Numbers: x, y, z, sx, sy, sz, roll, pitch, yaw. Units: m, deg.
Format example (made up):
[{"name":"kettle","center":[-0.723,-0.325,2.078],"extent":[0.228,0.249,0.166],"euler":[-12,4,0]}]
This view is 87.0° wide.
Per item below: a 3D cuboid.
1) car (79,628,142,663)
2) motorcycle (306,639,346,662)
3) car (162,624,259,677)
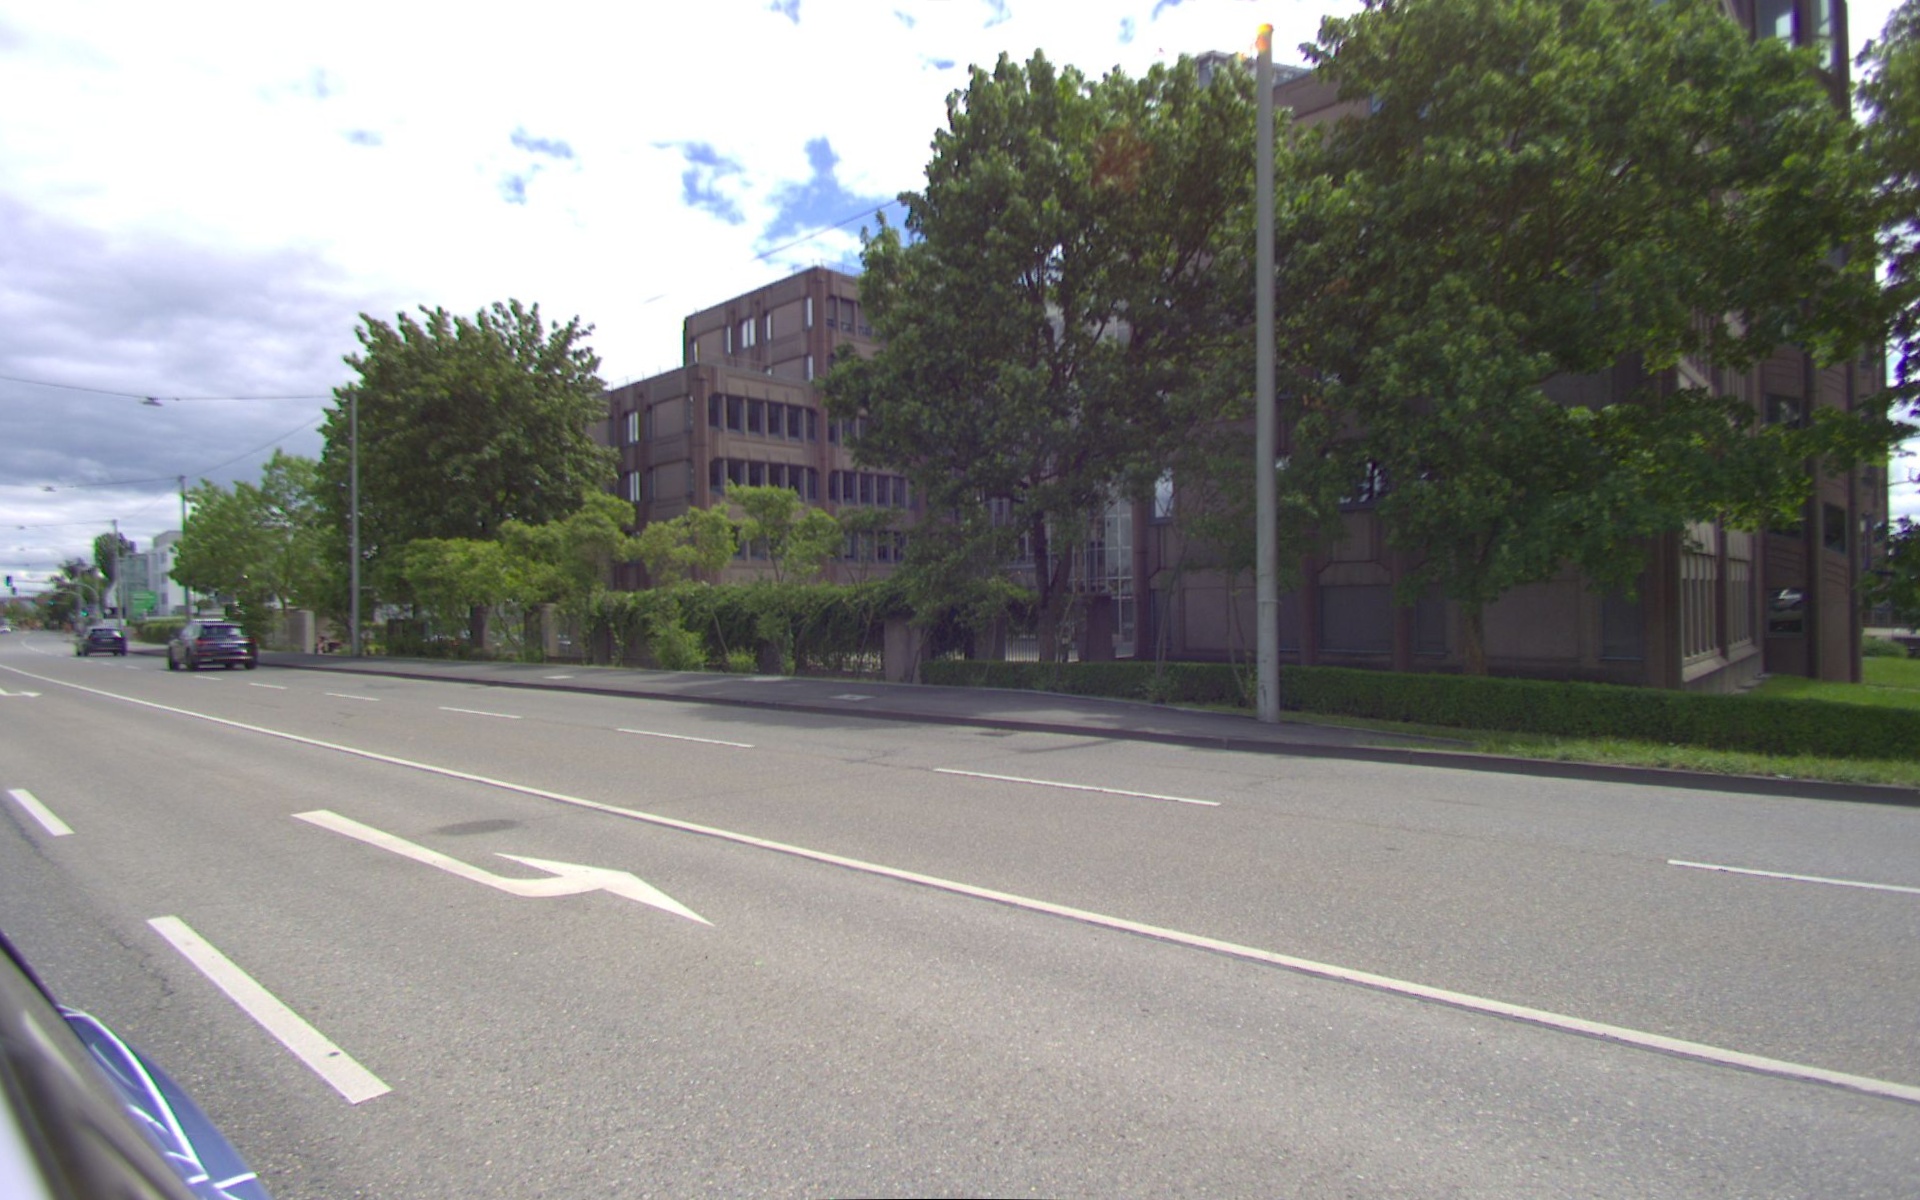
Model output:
[{"name":"car","center":[-42.631,2.224,50.735],"extent":[4.311,1.597,1.777],"euler":[-1,0,41]},{"name":"motorcycle","center":[-37.040,2.912,59.141],"extent":[0.745,1.254,1.880],"euler":[-1,-1,41]},{"name":"car","center":[-25.519,1.665,34.397],"extent":[4.571,1.627,1.847],"euler":[-1,-1,43]}]
